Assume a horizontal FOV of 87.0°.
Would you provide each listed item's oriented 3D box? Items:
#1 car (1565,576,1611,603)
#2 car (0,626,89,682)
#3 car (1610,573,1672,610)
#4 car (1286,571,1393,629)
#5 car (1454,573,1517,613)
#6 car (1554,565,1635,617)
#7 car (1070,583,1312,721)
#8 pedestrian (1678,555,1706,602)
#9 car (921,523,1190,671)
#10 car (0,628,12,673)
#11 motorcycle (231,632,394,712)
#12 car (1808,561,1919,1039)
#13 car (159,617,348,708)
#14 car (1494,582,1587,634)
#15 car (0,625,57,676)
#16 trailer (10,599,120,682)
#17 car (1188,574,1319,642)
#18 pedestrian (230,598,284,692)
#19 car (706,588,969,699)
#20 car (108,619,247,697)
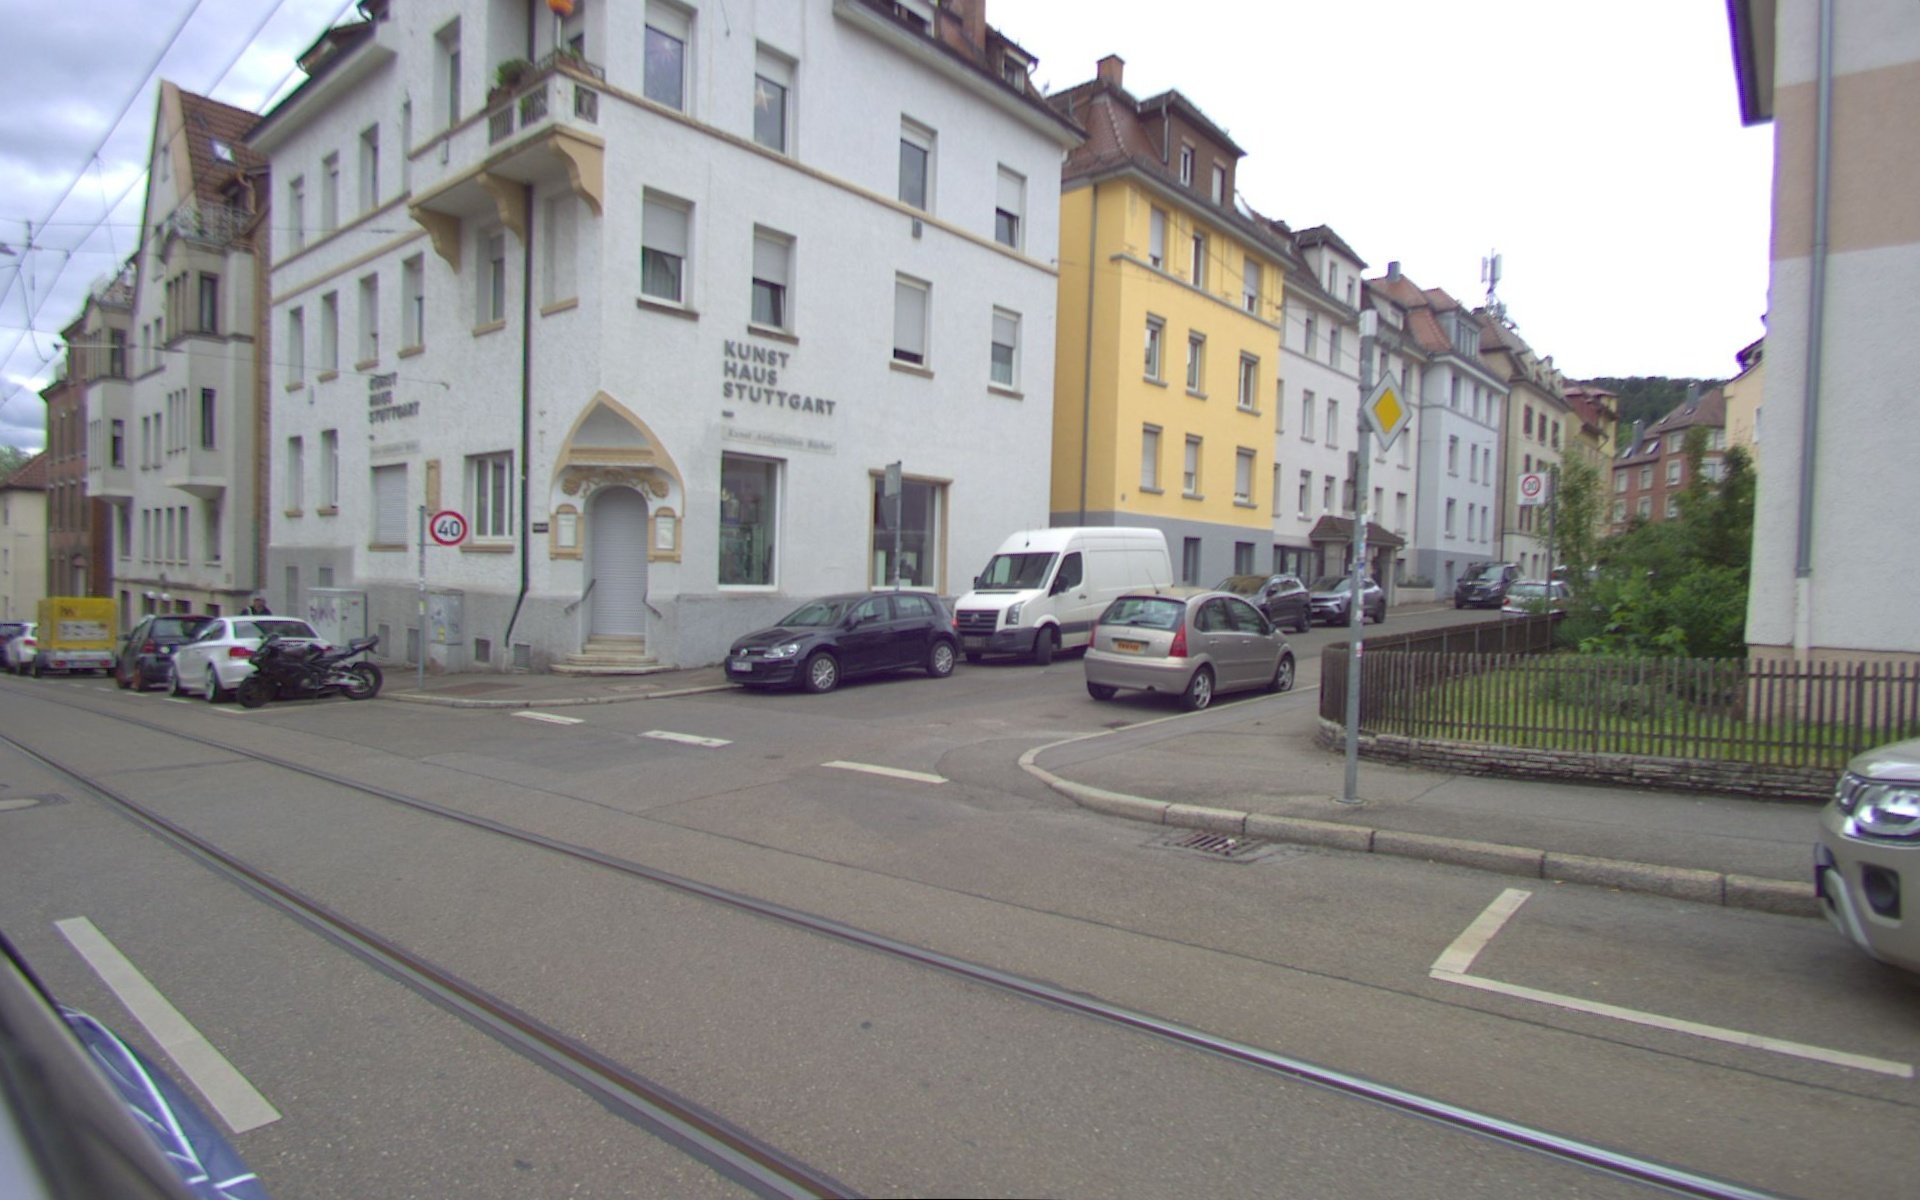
[{"bbox_3d":[35.780,-0.618,57.600,1.622,1.402,3.614,-2,0,41],"label":"car"},{"bbox_3d":[-28.163,1.643,30.955,4.265,1.606,1.679,-3,-4,41],"label":"car"},{"bbox_3d":[29.191,-0.395,43.344,1.776,1.475,3.640,2,2,40],"label":"car"},{"bbox_3d":[11.697,-0.025,31.066,1.822,1.636,4.057,-2,0,39],"label":"car"},{"bbox_3d":[22.301,-0.311,42.862,1.621,1.571,3.616,-2,0,39],"label":"car"},{"bbox_3d":[21.627,-0.352,34.439,1.776,1.688,3.838,2,2,40],"label":"car"},{"bbox_3d":[3.257,0.588,13.890,1.777,1.503,3.478,5,4,40],"label":"car"},{"bbox_3d":[32.695,-0.958,45.201,0.883,2.029,1.148,-2,-1,41],"label":"pedestrian"},{"bbox_3d":[2.140,-0.103,20.474,2.191,2.551,6.127,-1,0,42],"label":"car"},{"bbox_3d":[-39.197,1.994,40.141,4.910,1.731,1.808,-3,-4,41],"label":"car"},{"bbox_3d":[-10.035,1.086,15.720,2.080,1.143,0.768,1,-3,-36],"label":"motorcycle"},{"bbox_3d":[4.933,0.607,2.834,3.848,1.568,1.679,-2,-1,42],"label":"car"},{"bbox_3d":[-12.344,1.026,17.583,4.290,1.368,1.761,-2,-1,42],"label":"car"},{"bbox_3d":[16.857,0.171,29.324,1.707,1.362,3.640,2,2,40],"label":"car"},{"bbox_3d":[-32.737,1.739,34.811,4.888,1.677,1.854,-3,-4,41],"label":"car"},{"bbox_3d":[-25.119,1.151,28.352,4.068,2.172,1.730,-3,-4,41],"label":"trailer"},{"bbox_3d":[7.777,0.170,26.552,1.822,1.636,4.057,-2,0,39],"label":"car"},{"bbox_3d":[-14.894,0.940,21.432,0.810,1.919,0.583,-2,4,40],"label":"pedestrian"},{"bbox_3d":[-1.819,0.599,15.971,1.753,1.475,3.945,-1,0,42],"label":"car"},{"bbox_3d":[-16.178,1.166,20.901,3.021,1.480,1.679,-2,-3,41],"label":"car"}]
